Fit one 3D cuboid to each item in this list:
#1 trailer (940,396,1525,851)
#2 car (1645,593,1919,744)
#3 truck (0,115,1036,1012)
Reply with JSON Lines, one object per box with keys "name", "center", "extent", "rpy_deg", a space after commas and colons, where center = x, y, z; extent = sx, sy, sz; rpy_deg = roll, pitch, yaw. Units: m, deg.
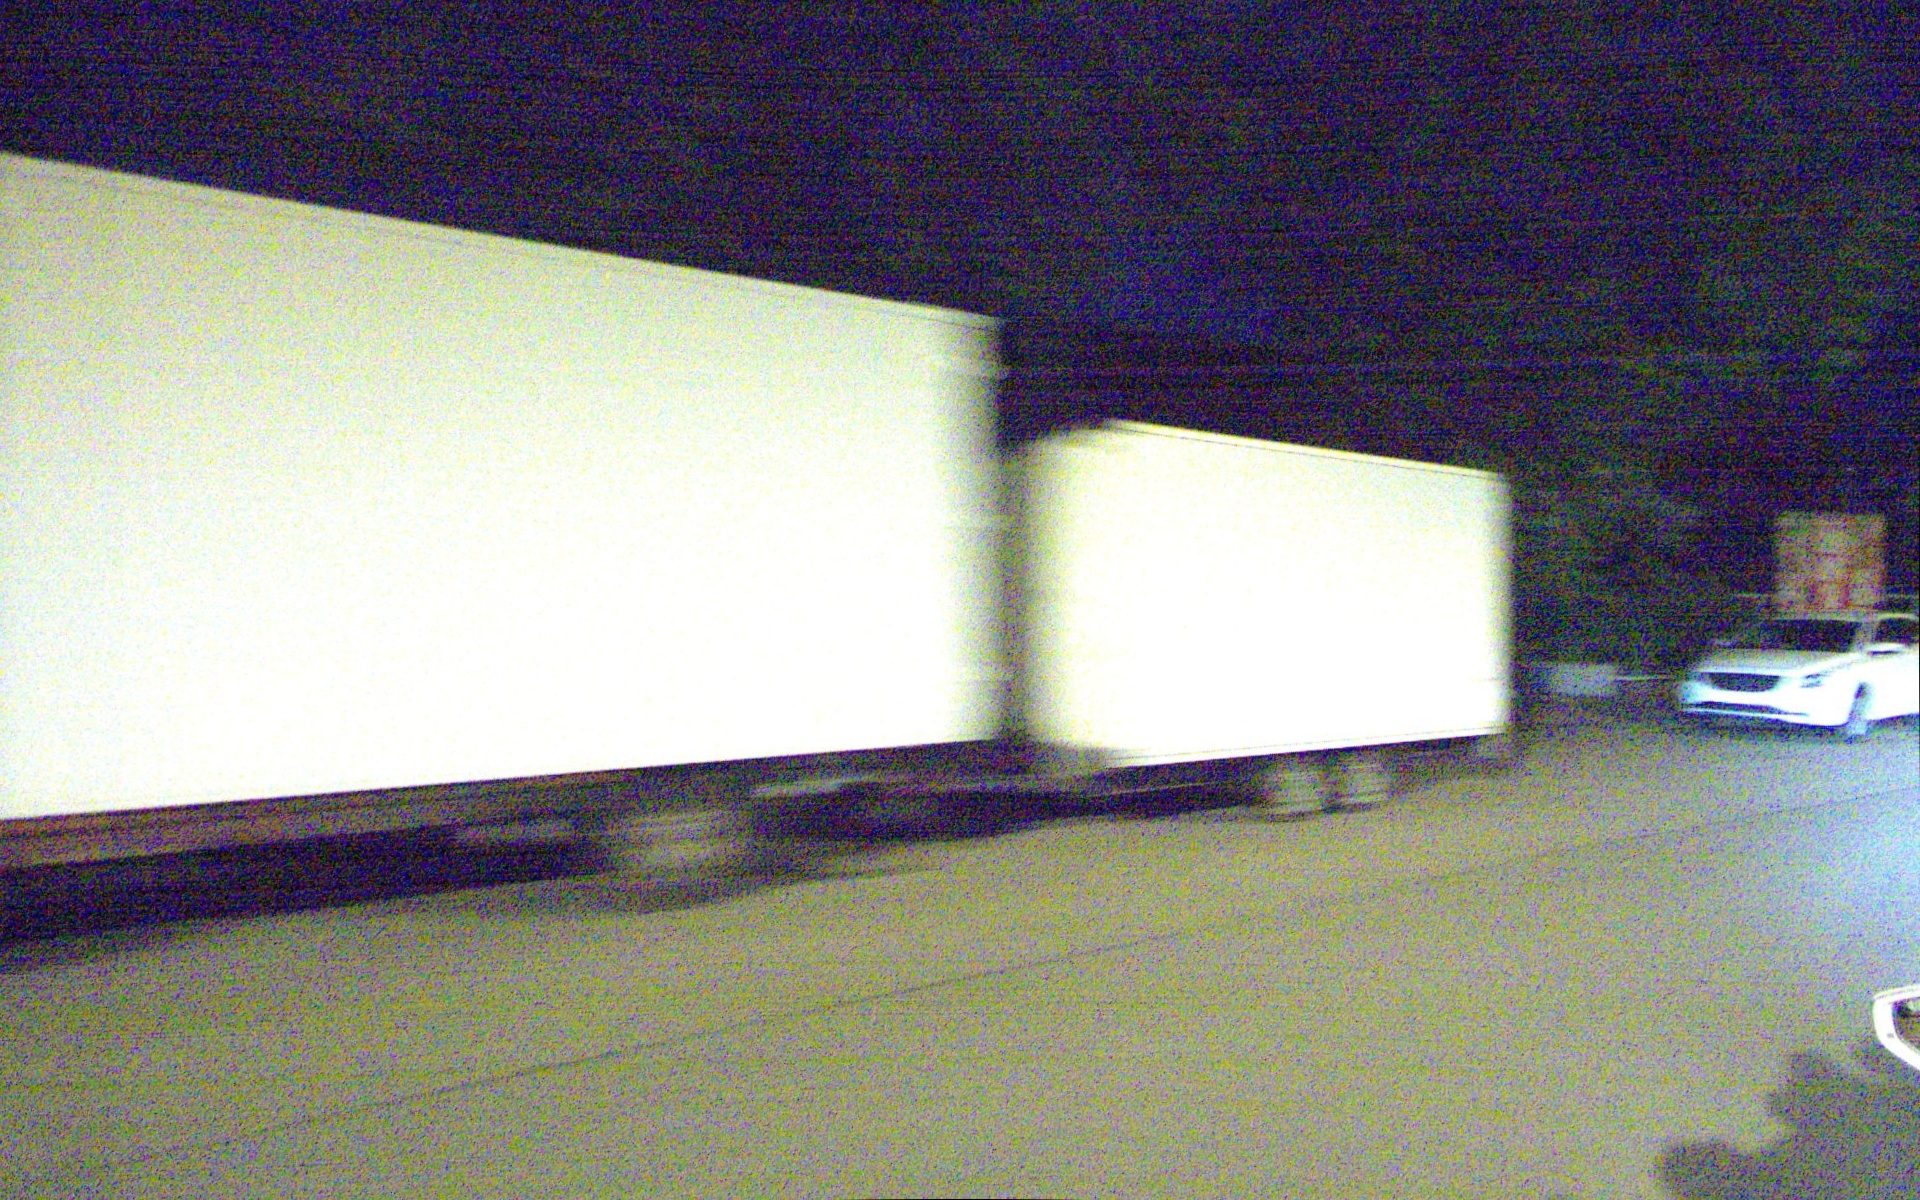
{"name": "trailer", "center": [2.350, 0.185, 8.392], "extent": [4.564, 2.832, 2.193], "rpy_deg": [1, -1, -31]}
{"name": "car", "center": [11.810, 0.850, 13.997], "extent": [4.637, 1.795, 1.984], "rpy_deg": [1, -1, -30]}
{"name": "truck", "center": [-3.221, -0.111, 5.222], "extent": [7.146, 3.286, 2.362], "rpy_deg": [1, -1, -30]}
